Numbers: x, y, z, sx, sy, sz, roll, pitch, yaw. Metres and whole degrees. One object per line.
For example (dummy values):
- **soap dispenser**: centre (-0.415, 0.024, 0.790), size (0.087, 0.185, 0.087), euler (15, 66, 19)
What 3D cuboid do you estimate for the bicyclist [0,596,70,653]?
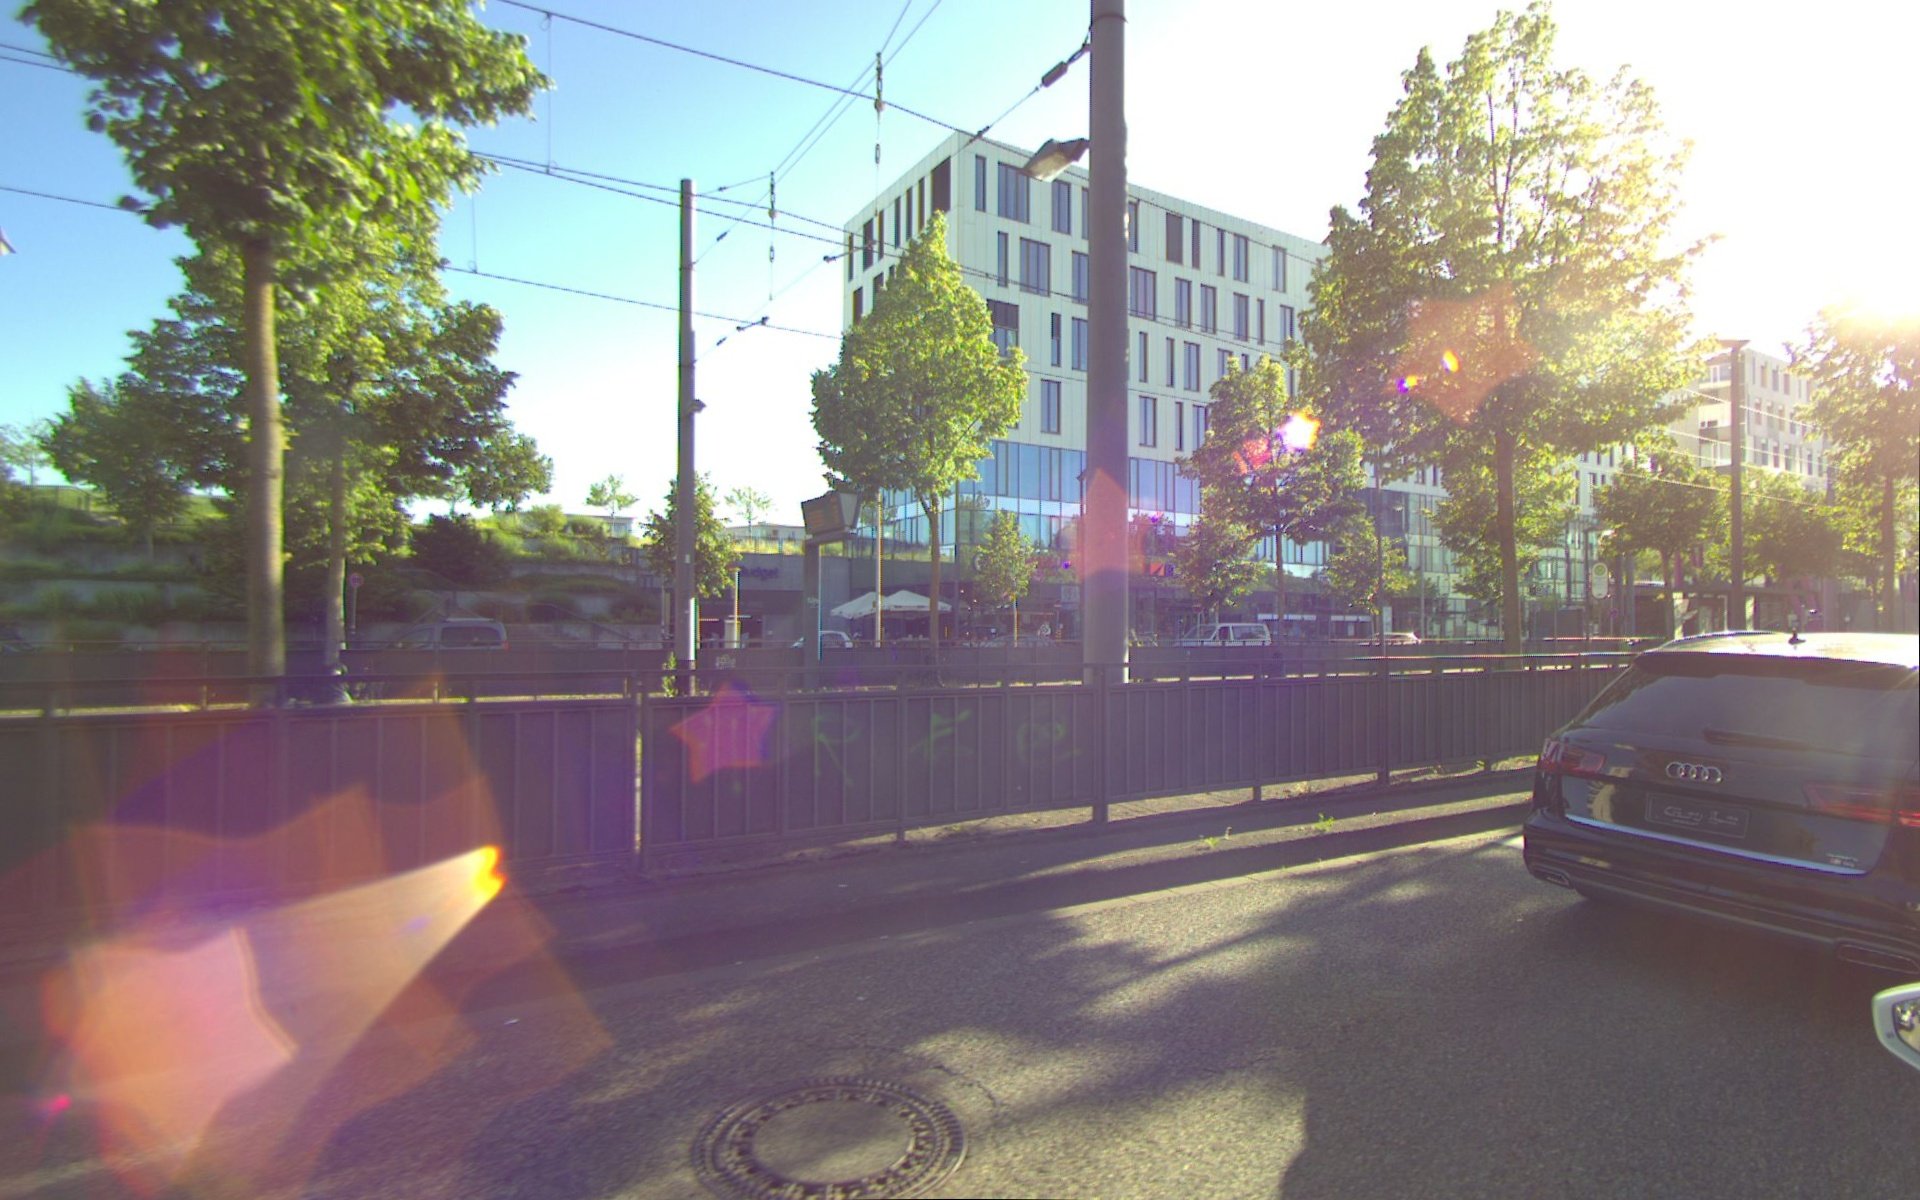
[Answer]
- **bicyclist**: centre (-23.863, 0.631, 25.619), size (1.642, 1.424, 0.486), euler (2, 0, -32)

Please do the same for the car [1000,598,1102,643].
- **car**: centre (4.365, 0.987, 48.085), size (4.510, 2.040, 1.984), euler (2, 0, -30)

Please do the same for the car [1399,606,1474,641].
- **car**: centre (29.401, 1.462, 61.971), size (4.510, 2.040, 1.984), euler (2, 0, -30)

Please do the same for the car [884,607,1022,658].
- **car**: centre (-0.226, 1.180, 35.931), size (4.557, 1.694, 1.984), euler (2, 0, -30)

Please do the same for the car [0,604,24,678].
- **car**: centre (-23.956, 0.874, 22.093), size (4.557, 1.642, 1.870), euler (2, 0, -30)

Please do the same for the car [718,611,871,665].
- **car**: centre (-5.423, 1.257, 33.008), size (4.557, 1.630, 1.984), euler (2, 0, -30)

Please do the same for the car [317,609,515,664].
- **car**: centre (-14.642, 0.995, 27.214), size (4.557, 1.343, 1.903), euler (2, 0, -30)

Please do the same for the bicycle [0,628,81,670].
- **bicycle**: centre (-23.894, 1.246, 25.608), size (2.164, 1.014, 0.494), euler (2, 0, -32)

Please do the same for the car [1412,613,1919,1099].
- **car**: centre (4.805, 0.863, 5.162), size (5.023, 1.500, 1.944), euler (1, 0, -30)

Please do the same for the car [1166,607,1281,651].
- **car**: centre (11.386, 1.256, 43.349), size (4.795, 1.737, 1.984), euler (2, 0, -30)
